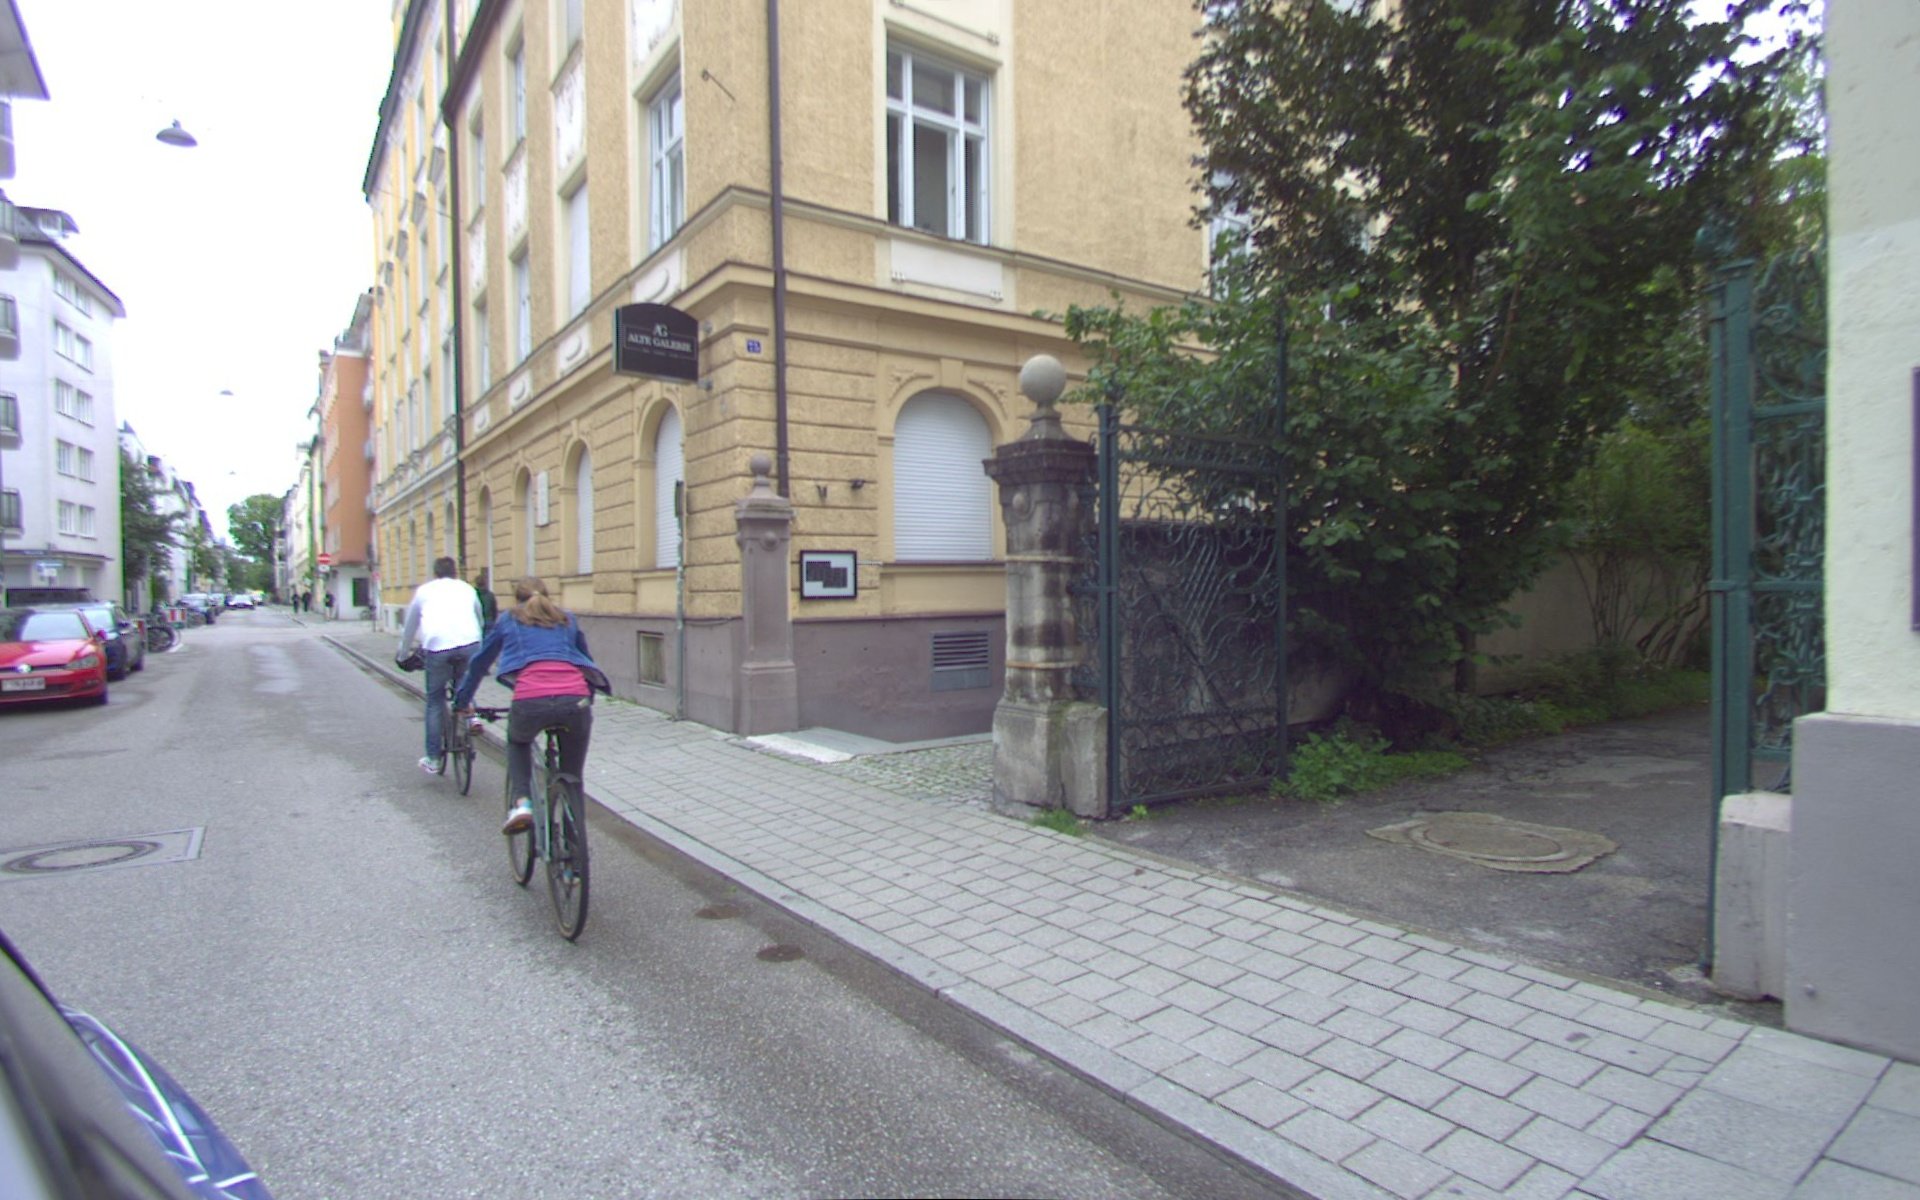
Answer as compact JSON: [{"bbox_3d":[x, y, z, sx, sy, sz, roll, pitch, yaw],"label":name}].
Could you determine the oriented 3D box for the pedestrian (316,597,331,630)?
[{"bbox_3d":[-32.724,0.692,52.033,0.603,1.706,0.567,-1,0,-40],"label":"pedestrian"}]

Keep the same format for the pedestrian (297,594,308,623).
[{"bbox_3d":[-47.185,0.618,72.667,0.625,2.029,0.790,1,-1,-35],"label":"pedestrian"}]

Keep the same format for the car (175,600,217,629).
[{"bbox_3d":[-40.410,0.739,53.576,1.627,1.409,4.010,-1,0,-35],"label":"car"}]

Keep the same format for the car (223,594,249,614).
[{"bbox_3d":[-69.253,0.368,96.814,1.899,1.819,4.455,-1,0,-36],"label":"car"}]

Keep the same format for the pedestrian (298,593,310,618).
[{"bbox_3d":[-47.073,0.410,72.614,0.688,1.806,0.765,-1,0,-34],"label":"pedestrian"}]

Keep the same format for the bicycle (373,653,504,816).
[{"bbox_3d":[-4.276,1.012,8.223,0.652,1.047,2.009,-1,0,-36],"label":"bicycle"}]

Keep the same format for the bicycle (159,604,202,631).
[{"bbox_3d":[-37.398,0.834,48.550,1.582,1.223,0.530,-1,0,-33],"label":"bicycle"}]

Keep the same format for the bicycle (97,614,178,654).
[{"bbox_3d":[-22.540,0.928,27.755,1.680,1.051,0.361,2,-1,-35],"label":"bicycle"}]

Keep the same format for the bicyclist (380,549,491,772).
[{"bbox_3d":[-4.201,0.448,8.093,0.651,1.655,0.897,-1,0,-36],"label":"bicyclist"}]

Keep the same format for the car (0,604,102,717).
[{"bbox_3d":[-14.120,0.829,15.239,1.739,1.457,4.305,-3,2,-41],"label":"car"}]

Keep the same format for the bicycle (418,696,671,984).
[{"bbox_3d":[-2.028,1.000,4.779,0.698,0.912,1.814,-1,0,-36],"label":"bicycle"}]

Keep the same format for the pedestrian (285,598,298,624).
[{"bbox_3d":[-47.631,0.784,72.076,0.714,1.806,0.832,-1,0,-35],"label":"pedestrian"}]

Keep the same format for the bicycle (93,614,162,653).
[{"bbox_3d":[-23.007,0.927,27.997,1.415,1.051,0.331,1,-1,-27],"label":"bicycle"}]

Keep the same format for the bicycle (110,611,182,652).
[{"bbox_3d":[-24.517,0.939,30.515,1.673,1.169,0.379,-1,0,-36],"label":"bicycle"}]

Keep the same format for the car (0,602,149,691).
[{"bbox_3d":[-17.114,0.811,19.608,1.770,1.449,4.395,-3,2,-34],"label":"car"}]

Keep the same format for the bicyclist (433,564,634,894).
[{"bbox_3d":[-2.027,0.539,4.778,0.698,1.381,0.815,-1,0,-36],"label":"bicyclist"}]

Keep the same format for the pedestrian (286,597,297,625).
[{"bbox_3d":[-47.717,0.781,72.237,0.625,2.029,0.790,1,-1,-35],"label":"pedestrian"}]

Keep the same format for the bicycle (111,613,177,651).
[{"bbox_3d":[-23.514,0.926,29.174,1.418,1.051,0.361,1,-1,-27],"label":"bicycle"}]

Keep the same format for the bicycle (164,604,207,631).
[{"bbox_3d":[-36.882,0.835,48.214,1.582,1.223,0.530,-1,0,-33],"label":"bicycle"}]

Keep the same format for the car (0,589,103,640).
[{"bbox_3d":[-36.577,0.556,39.349,4.602,1.905,1.940,-1,0,-27],"label":"car"}]

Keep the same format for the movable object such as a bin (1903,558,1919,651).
[{"bbox_3d":[15.281,0.052,15.329,1.206,1.414,1.111,-1,0,-28],"label":"movable object such as a bin"}]

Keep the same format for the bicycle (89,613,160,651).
[{"bbox_3d":[-23.648,0.922,28.665,1.496,1.051,0.361,2,-1,-27],"label":"bicycle"}]

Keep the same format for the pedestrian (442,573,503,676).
[{"bbox_3d":[-8.363,0.400,17.358,0.703,1.678,0.932,-4,2,-35],"label":"pedestrian"}]

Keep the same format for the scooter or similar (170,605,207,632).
[{"bbox_3d":[-35.934,0.841,47.132,1.319,1.223,0.345,-1,0,-33],"label":"scooter or similar"}]

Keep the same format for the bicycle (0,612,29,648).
[{"bbox_3d":[-27.891,0.864,29.175,0.398,1.051,1.483,1,-1,36],"label":"bicycle"}]
